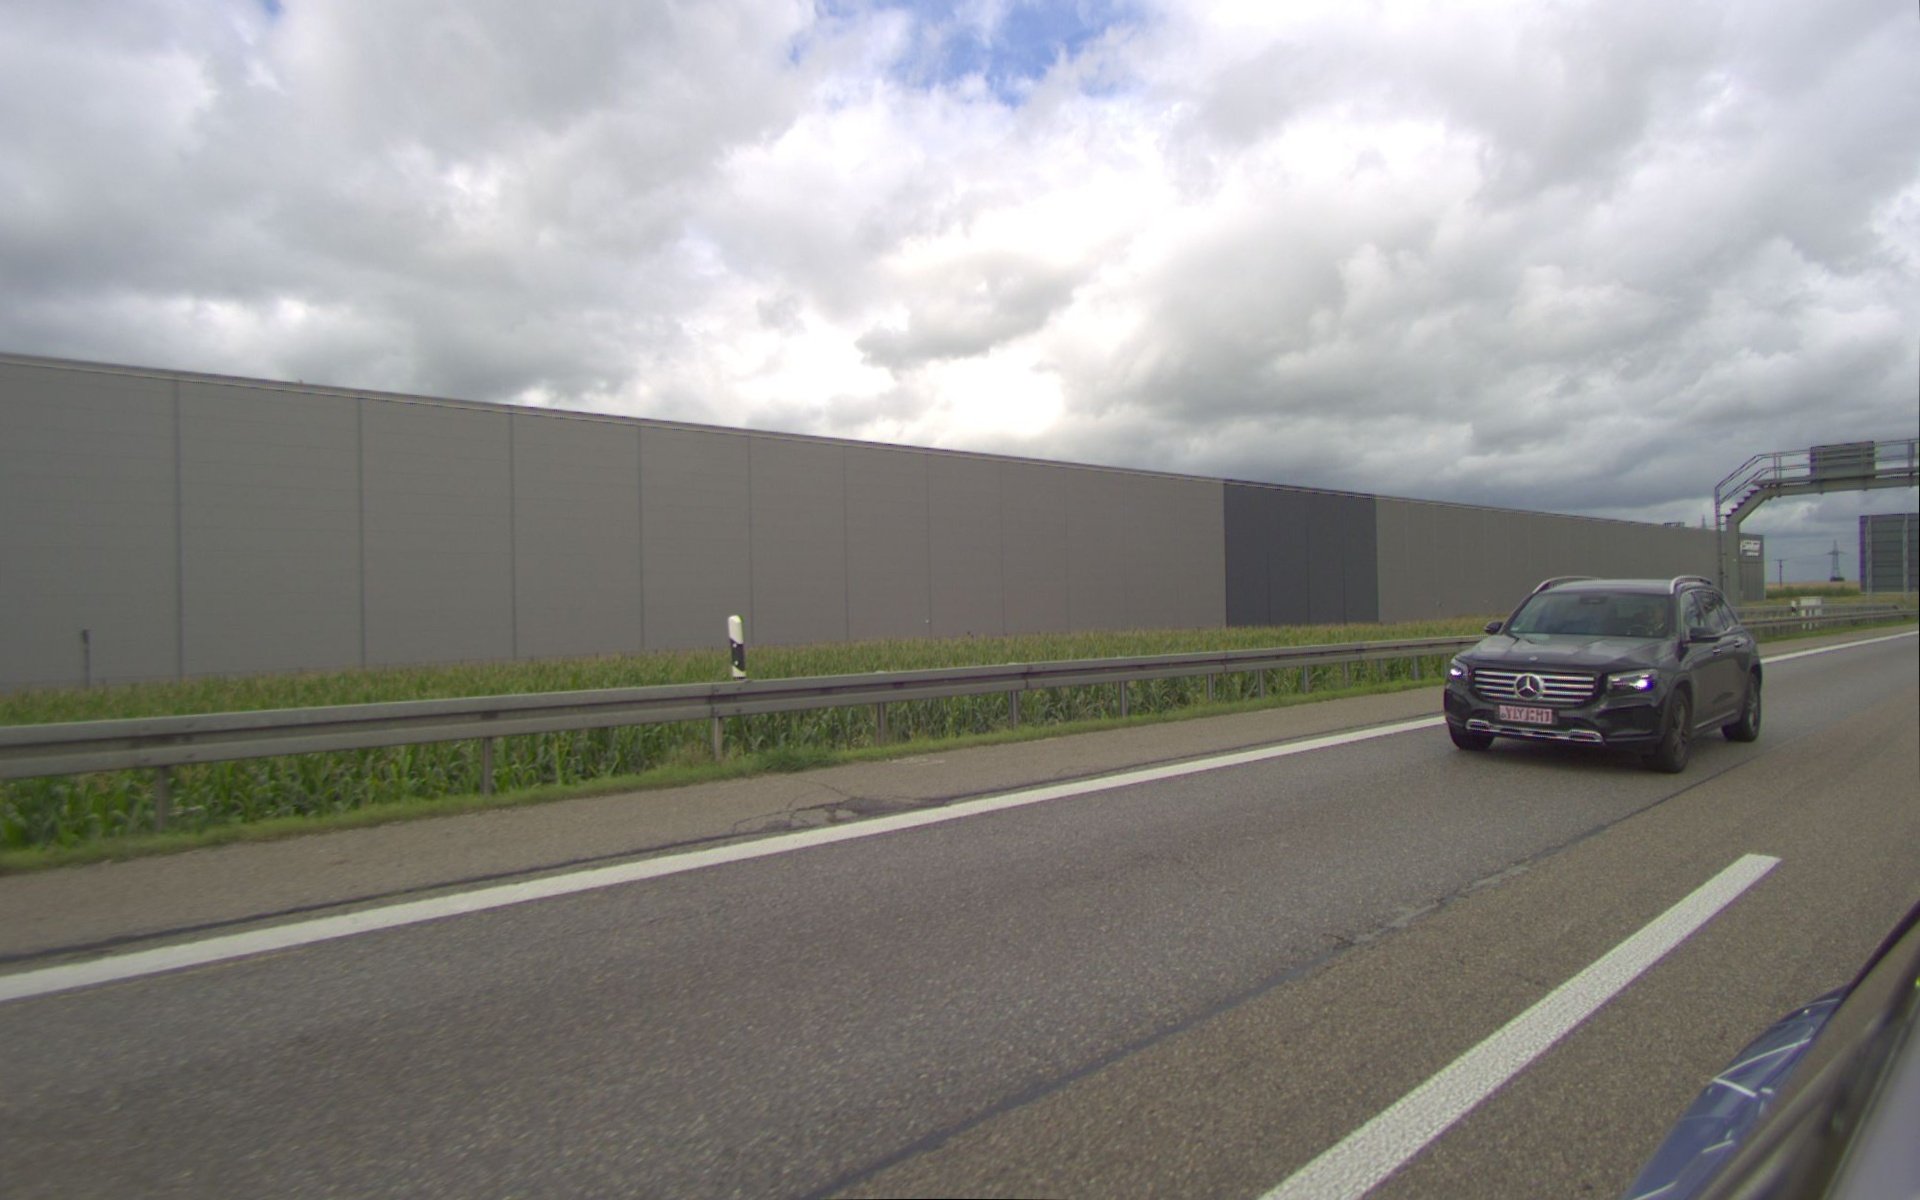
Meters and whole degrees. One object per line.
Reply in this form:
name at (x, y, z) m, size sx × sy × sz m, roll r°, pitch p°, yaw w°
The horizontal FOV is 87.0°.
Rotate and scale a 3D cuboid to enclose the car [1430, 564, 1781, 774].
car at (6.480, 0.479, 9.962) m, size 4.286 × 1.629 × 1.836 m, roll -2°, pitch 1°, yaw -42°
